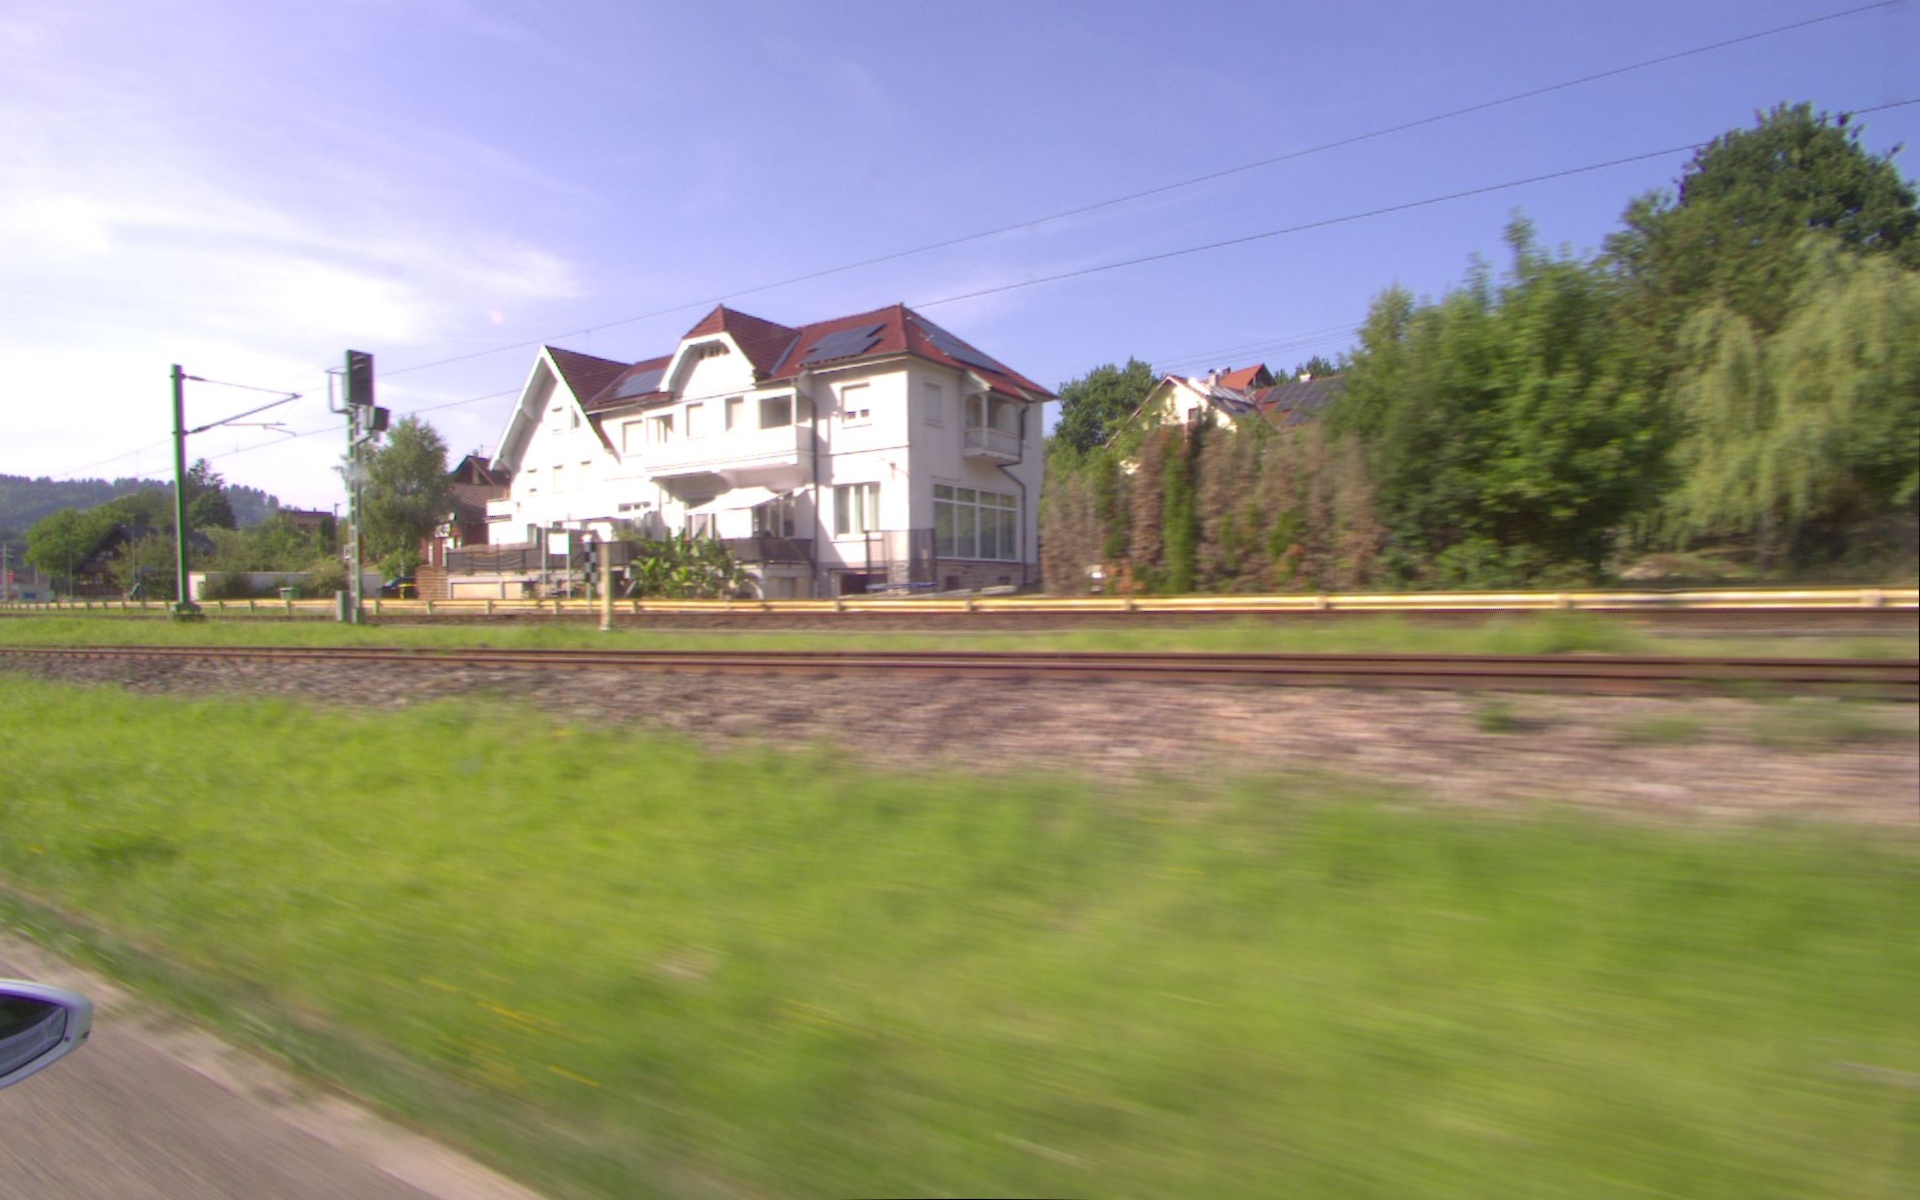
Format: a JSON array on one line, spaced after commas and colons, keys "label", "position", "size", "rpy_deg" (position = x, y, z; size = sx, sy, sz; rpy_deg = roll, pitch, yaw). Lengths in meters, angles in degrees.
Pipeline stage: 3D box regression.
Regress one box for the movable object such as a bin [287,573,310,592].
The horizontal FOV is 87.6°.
[{"label": "movable object such as a bin", "position": [-37.060, -0.973, 56.107], "size": [0.901, 1.064, 0.804], "rpy_deg": [1, 0, 40]}]
